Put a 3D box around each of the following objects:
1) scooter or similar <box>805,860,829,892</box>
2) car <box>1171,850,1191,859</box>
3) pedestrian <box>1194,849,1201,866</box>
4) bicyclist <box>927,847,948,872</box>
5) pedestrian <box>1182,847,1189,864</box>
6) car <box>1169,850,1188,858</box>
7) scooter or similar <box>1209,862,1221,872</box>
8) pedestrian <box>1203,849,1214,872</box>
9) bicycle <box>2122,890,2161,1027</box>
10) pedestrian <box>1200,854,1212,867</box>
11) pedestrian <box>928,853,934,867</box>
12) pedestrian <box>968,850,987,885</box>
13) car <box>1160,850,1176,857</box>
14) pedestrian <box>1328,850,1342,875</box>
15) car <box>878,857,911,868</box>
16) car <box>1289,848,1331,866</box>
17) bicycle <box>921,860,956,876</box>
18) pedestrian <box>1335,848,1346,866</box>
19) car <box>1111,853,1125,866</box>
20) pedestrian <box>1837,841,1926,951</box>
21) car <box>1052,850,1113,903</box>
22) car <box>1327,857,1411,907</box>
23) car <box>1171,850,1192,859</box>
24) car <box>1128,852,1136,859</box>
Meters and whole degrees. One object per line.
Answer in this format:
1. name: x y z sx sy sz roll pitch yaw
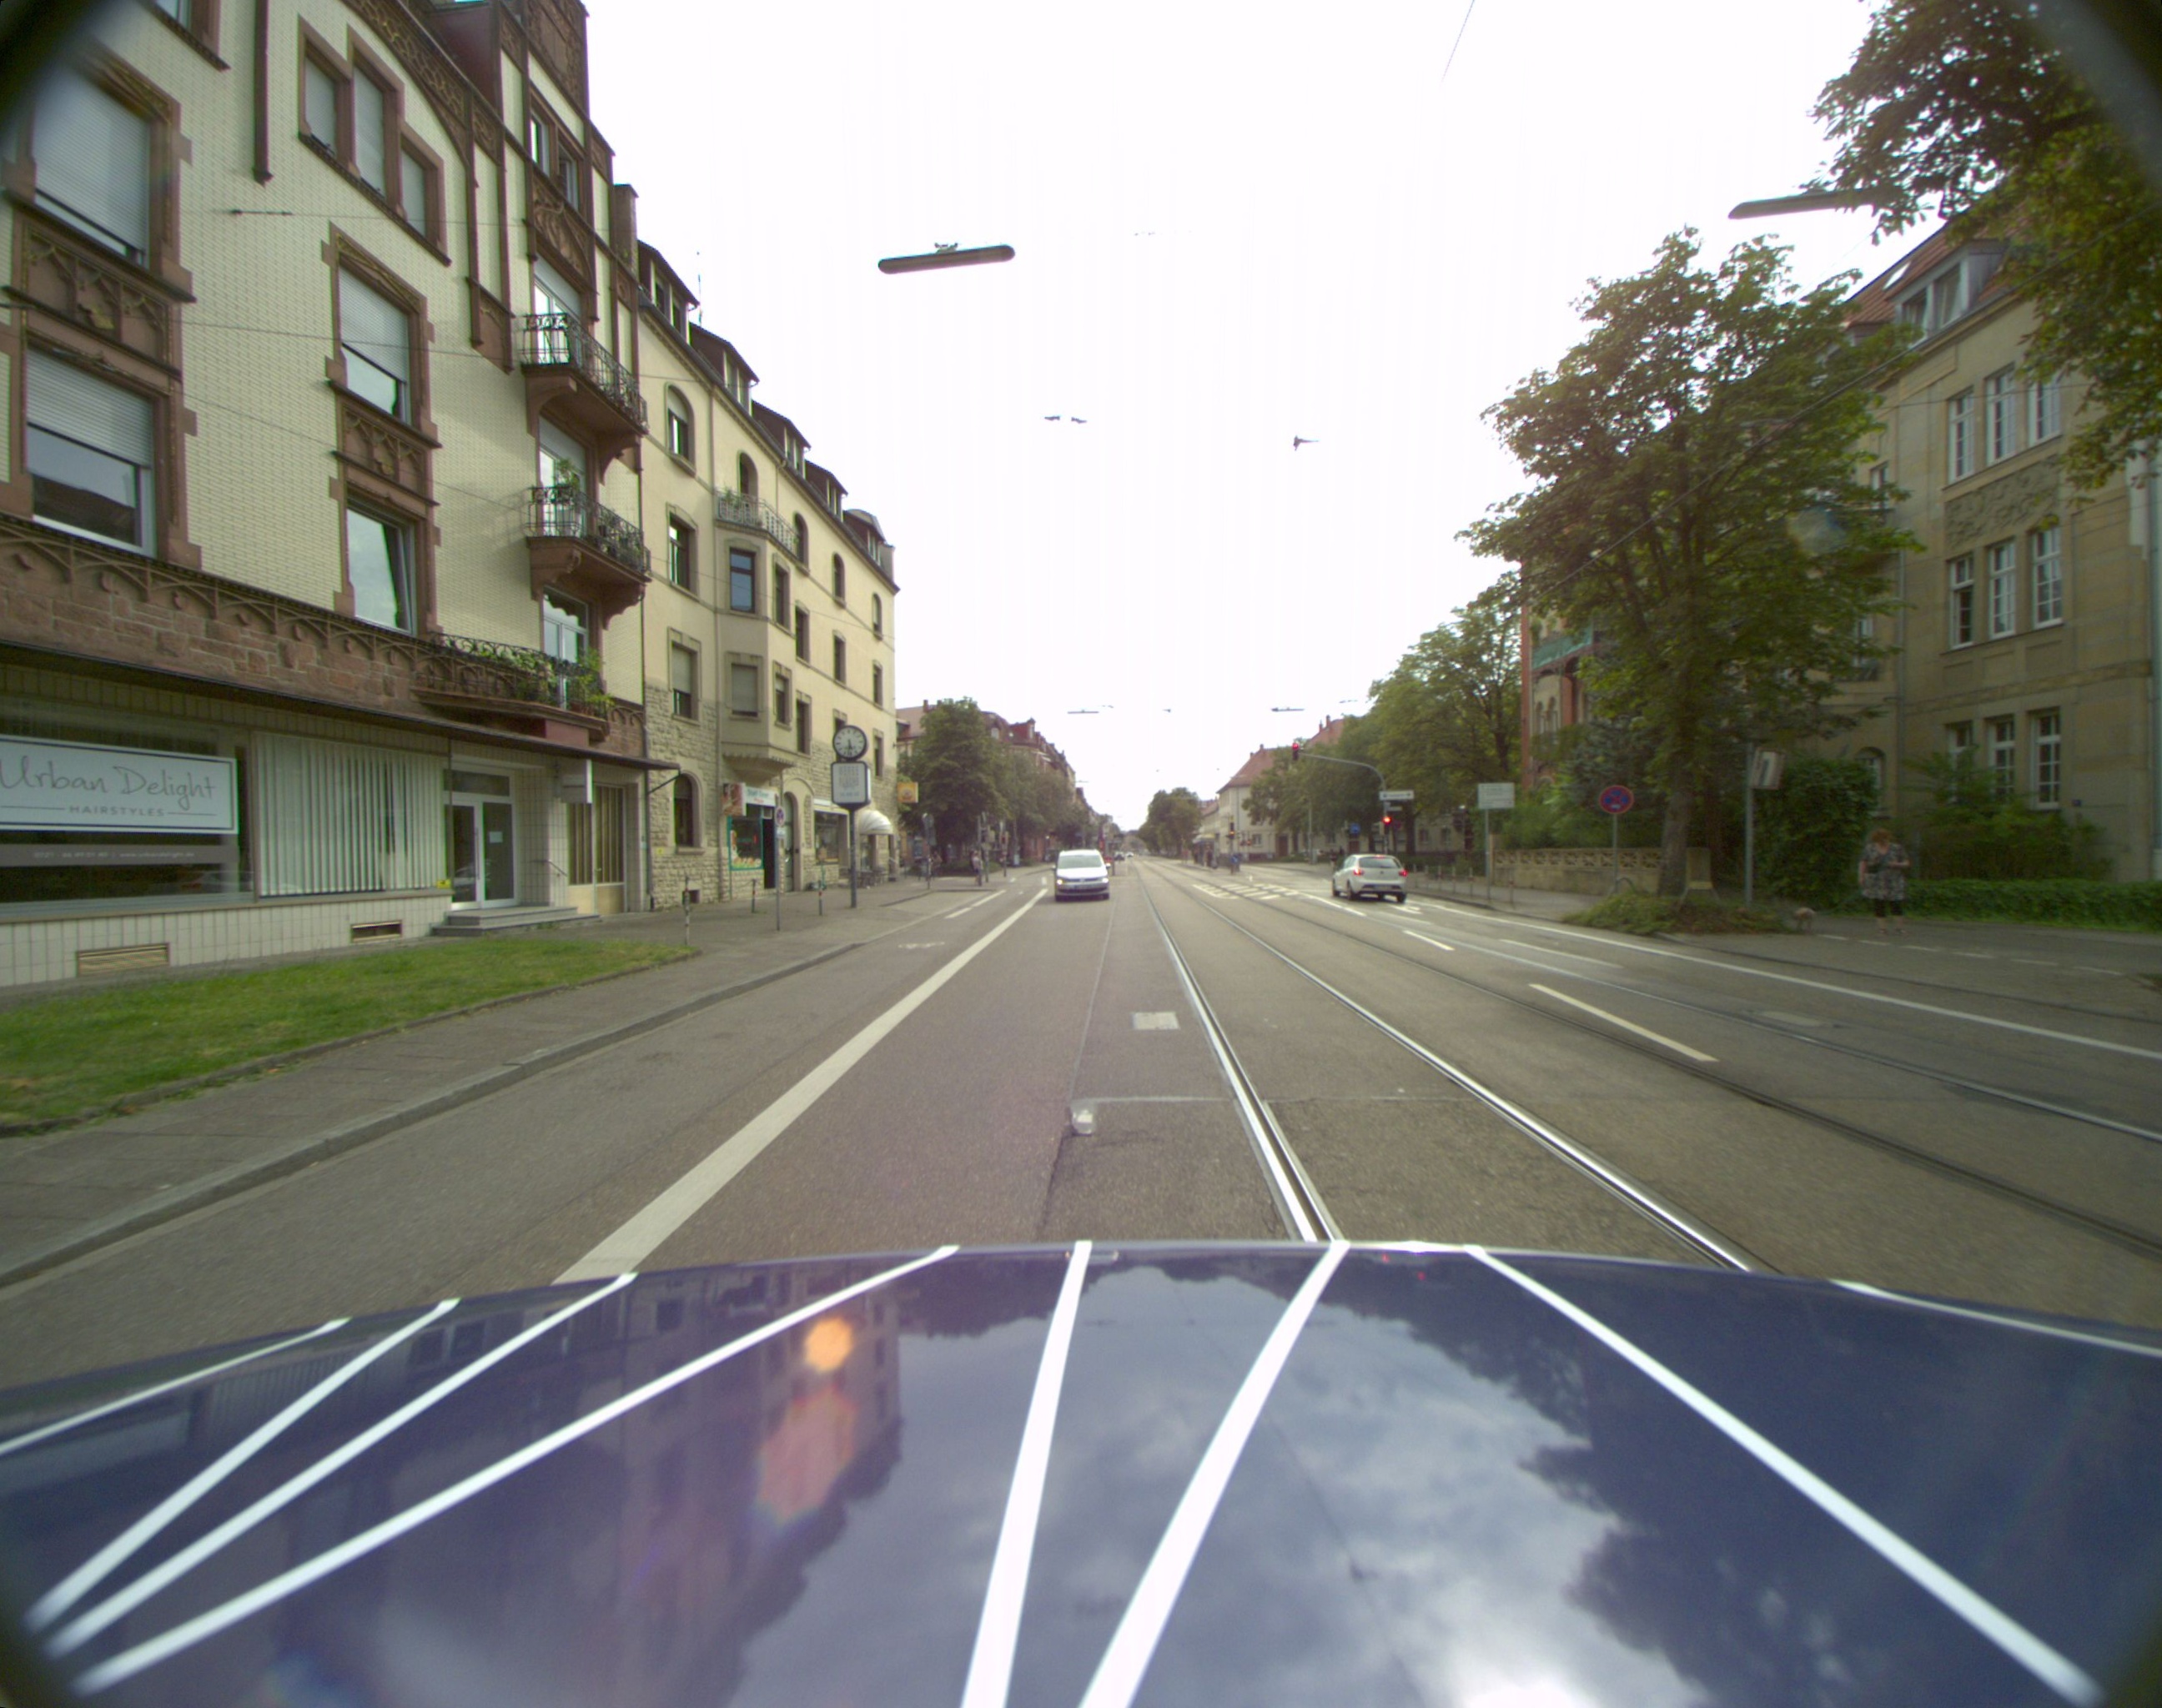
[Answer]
1. scooter or similar: -9.921 0.807 28.606 0.398 1.161 1.197 1 1 4
2. car: 20.828 0.031 158.026 3.995 1.716 1.877 -2 0 6
3. pedestrian: 12.010 0.390 78.435 0.588 1.694 0.619 -2 1 -1
4. bicyclist: -9.655 0.384 51.030 0.841 1.680 1.243 -1 0 -40
5. pedestrian: 11.635 0.142 84.614 0.658 1.824 0.464 -2 1 -10
6. car: 21.535 -0.023 168.322 3.995 1.716 1.877 -2 0 6
7. scooter or similar: 9.814 0.940 55.654 0.669 0.708 0.604 1 2 35
8. pedestrian: 9.467 0.465 56.392 0.684 1.680 0.815 -1 1 2
9. bicycle: 11.245 1.008 7.527 2.239 1.168 0.833 -2 1 -29
10. pedestrian: 11.608 0.595 70.540 1.032 1.229 0.724 -2 1 2
11. pedestrian: -17.799 0.702 90.323 0.612 1.684 0.641 -1 1 -2
12. pedestrian: -5.074 0.654 37.270 0.721 1.651 0.759 3 1 0
13. car: 22.730 -0.153 198.059 3.995 1.716 1.877 -2 0 6
14. pedestrian: 17.016 0.552 50.896 0.654 1.680 0.712 -1 1 -1
15. car: -22.393 1.018 91.106 3.581 1.259 1.742 -2 0 27
16. car: 26.244 0.346 87.289 4.187 1.854 1.857 -2 1 38
17. bicycle: -9.602 0.929 50.984 0.888 1.039 3.088 -1 0 -41
18. pedestrian: 28.297 0.316 82.729 0.862 2.002 0.766 -1 1 38
19. car: 6.023 0.937 123.195 1.998 2.002 4.001 -2 0 5
20. pedestrian: 13.073 0.674 12.426 0.707 1.725 0.701 -2 1 -1
21. car: 0.130 0.714 26.633 1.766 1.661 4.330 -2 0 4
22. car: 9.097 0.815 24.305 1.574 1.408 4.002 1 0 7
23. car: 19.738 0.095 148.740 3.995 1.716 1.877 -2 0 6
24. car: 13.885 0.437 206.402 1.998 2.002 4.001 -2 0 5
